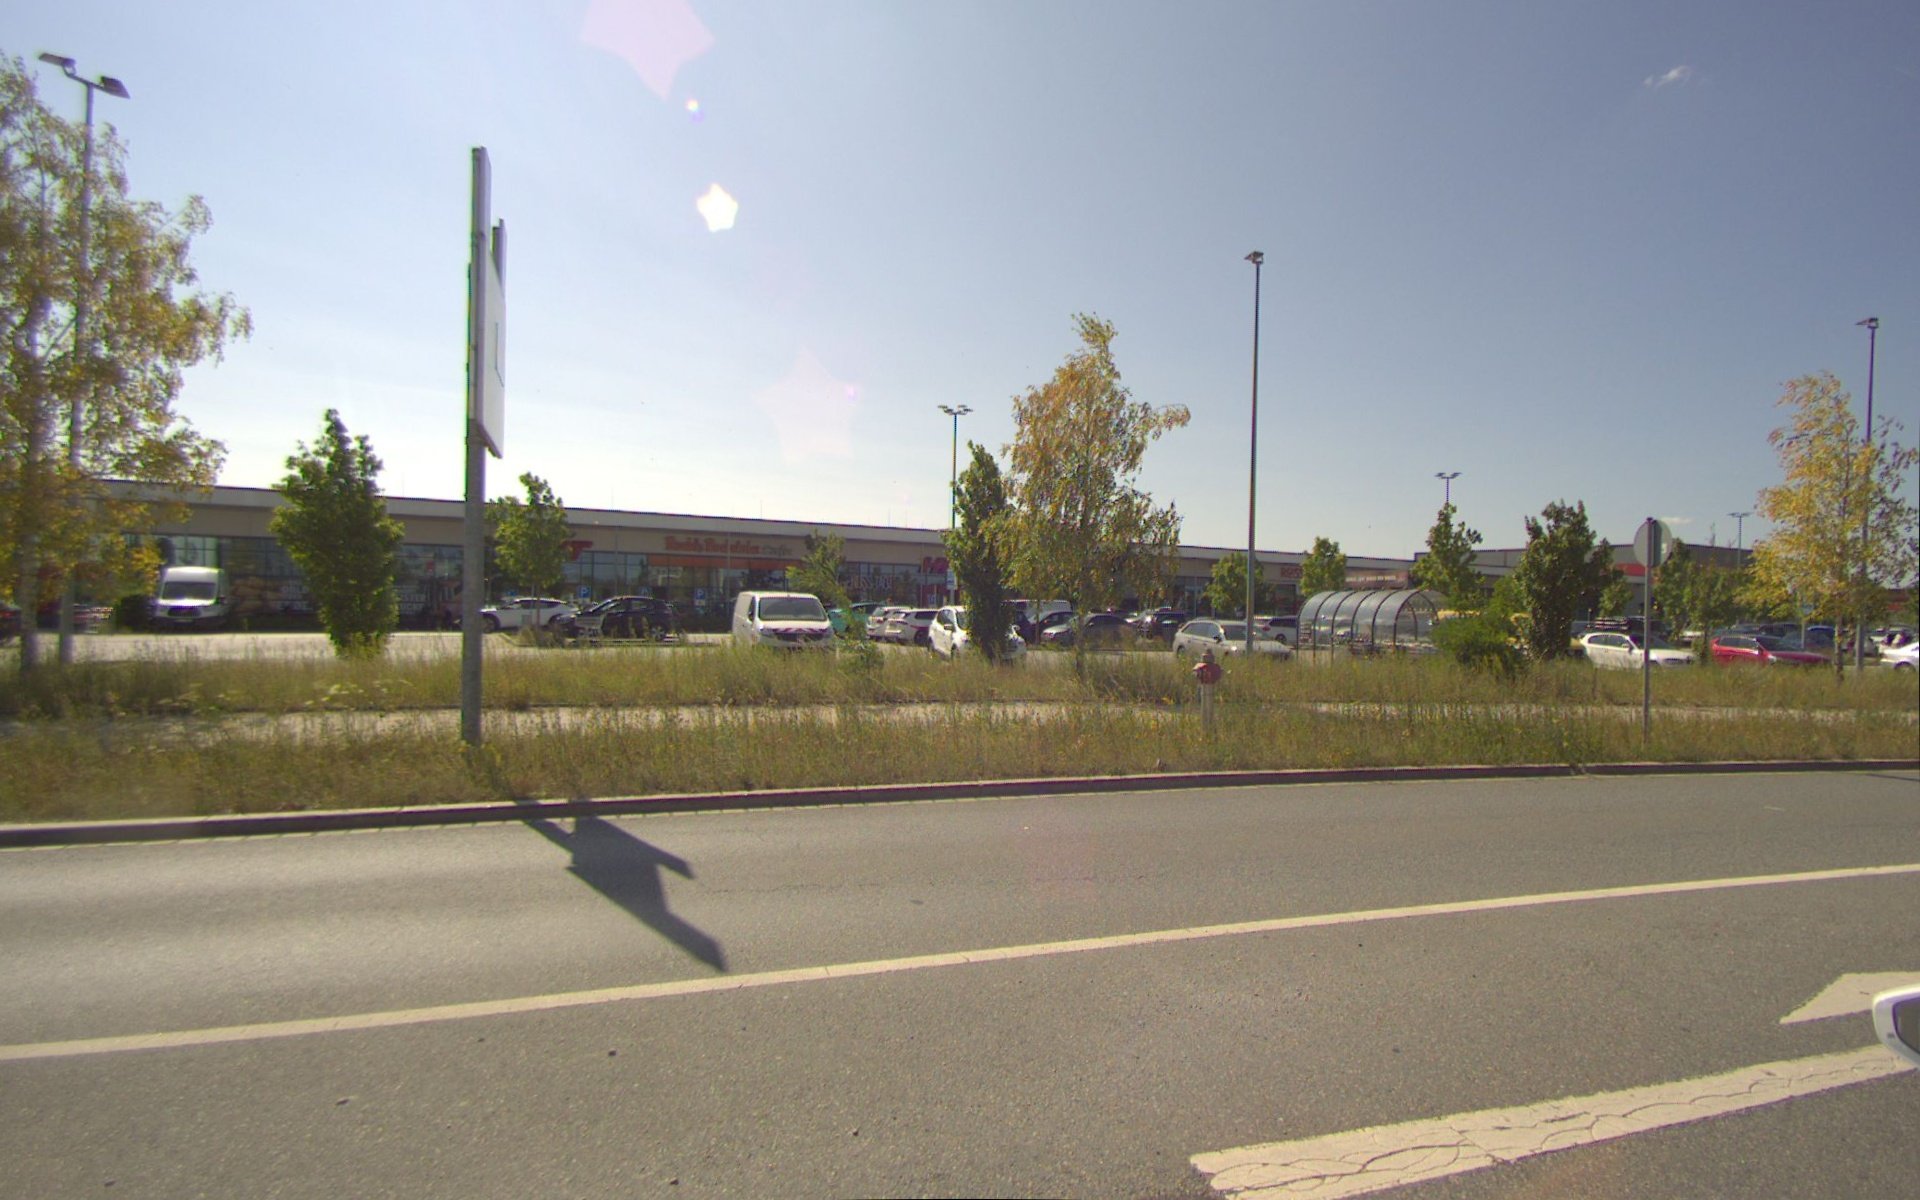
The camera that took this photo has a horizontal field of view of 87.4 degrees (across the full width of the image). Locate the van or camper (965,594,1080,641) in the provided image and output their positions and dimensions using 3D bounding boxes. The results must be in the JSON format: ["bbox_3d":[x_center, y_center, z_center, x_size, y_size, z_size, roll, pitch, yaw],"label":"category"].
[{"bbox_3d":[2.886,0.818,46.207,4.985,2.040,1.987,1,0,-26],"label":"van or camper"}]

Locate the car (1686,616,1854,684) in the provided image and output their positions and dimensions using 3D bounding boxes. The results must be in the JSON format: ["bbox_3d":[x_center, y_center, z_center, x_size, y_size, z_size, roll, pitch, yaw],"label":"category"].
[{"bbox_3d":[26.682,1.593,33.272,1.849,2.040,4.132,2,0,-9],"label":"car"}]

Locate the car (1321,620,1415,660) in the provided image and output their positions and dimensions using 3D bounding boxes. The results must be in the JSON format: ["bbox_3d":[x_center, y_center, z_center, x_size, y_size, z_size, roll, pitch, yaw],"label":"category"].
[{"bbox_3d":[20.377,1.986,50.184,4.428,1.888,1.986,2,-1,-28],"label":"car"}]

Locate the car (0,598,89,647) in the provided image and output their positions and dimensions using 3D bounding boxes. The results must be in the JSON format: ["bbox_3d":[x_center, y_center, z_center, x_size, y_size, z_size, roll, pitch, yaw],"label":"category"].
[{"bbox_3d":[-29.347,0.673,30.728,3.802,1.442,1.757,2,-1,-32],"label":"car"}]

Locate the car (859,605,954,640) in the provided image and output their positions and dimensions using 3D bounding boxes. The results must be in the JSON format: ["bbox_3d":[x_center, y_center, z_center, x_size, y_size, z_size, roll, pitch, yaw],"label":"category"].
[{"bbox_3d":[-2.275,0.954,42.971,3.689,1.409,1.717,1,0,-31],"label":"car"}]

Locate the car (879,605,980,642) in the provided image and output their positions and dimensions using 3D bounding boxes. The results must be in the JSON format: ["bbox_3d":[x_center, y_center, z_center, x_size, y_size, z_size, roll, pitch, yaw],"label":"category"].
[{"bbox_3d":[-1.215,0.943,40.130,3.689,1.409,1.717,1,0,-31],"label":"car"}]

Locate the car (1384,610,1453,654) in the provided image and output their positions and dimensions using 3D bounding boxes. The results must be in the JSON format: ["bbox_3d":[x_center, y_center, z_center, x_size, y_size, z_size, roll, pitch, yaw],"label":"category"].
[{"bbox_3d":[31.448,2.193,68.849,4.428,2.859,1.986,2,-1,-28],"label":"car"}]

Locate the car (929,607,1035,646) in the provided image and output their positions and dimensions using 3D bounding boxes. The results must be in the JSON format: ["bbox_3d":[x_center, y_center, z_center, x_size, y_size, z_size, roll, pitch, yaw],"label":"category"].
[{"bbox_3d":[0.860,0.997,38.269,3.689,1.409,1.717,1,0,-31],"label":"car"}]

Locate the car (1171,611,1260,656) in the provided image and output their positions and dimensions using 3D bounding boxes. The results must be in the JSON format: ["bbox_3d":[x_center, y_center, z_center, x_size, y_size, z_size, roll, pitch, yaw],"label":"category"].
[{"bbox_3d":[13.163,1.721,51.679,4.438,2.220,1.981,2,-1,-34],"label":"car"}]

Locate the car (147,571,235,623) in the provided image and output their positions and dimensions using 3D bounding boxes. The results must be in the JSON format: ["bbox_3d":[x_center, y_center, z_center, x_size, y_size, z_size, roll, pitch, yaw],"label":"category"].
[{"bbox_3d":[-32.219,-0.120,42.299,2.204,2.003,6.639,1,0,-31],"label":"car"}]

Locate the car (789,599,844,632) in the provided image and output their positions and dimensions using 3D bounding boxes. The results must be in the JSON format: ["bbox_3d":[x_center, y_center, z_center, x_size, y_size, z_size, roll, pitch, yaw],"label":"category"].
[{"bbox_3d":[-7.927,0.837,55.180,1.972,1.730,3.976,1,0,-24],"label":"car"}]

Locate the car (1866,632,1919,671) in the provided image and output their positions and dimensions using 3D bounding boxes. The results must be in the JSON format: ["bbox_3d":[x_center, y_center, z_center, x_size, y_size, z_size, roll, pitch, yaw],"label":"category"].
[{"bbox_3d":[53.225,2.882,56.512,4.428,2.065,1.986,2,-1,-28],"label":"car"}]

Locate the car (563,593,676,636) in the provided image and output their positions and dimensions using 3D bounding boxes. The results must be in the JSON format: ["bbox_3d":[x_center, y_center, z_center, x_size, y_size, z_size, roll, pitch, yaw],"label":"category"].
[{"bbox_3d":[-12.637,0.545,37.254,3.758,1.529,1.719,1,0,-28],"label":"car"}]

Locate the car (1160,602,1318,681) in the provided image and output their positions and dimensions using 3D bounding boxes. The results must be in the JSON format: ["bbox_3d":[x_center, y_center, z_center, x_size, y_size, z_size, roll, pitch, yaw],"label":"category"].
[{"bbox_3d":[7.814,1.098,28.720,2.128,2.040,5.102,1,0,-14],"label":"car"}]

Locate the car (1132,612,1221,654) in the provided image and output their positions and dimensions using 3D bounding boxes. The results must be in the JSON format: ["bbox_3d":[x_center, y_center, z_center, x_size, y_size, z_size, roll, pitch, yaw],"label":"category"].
[{"bbox_3d":[11.723,1.784,54.410,4.422,2.130,1.989,2,-1,-24],"label":"car"}]

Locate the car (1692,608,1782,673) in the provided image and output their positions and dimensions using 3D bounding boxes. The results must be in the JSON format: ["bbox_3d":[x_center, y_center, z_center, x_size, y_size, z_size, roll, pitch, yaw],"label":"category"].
[{"bbox_3d":[35.937,1.858,46.425,4.438,2.859,1.981,2,-1,-34],"label":"car"}]

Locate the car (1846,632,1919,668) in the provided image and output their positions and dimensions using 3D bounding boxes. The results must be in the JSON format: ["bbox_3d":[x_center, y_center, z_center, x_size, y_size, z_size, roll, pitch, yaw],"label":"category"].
[{"bbox_3d":[56.603,3.066,61.564,4.428,2.065,1.986,2,-1,-28],"label":"car"}]

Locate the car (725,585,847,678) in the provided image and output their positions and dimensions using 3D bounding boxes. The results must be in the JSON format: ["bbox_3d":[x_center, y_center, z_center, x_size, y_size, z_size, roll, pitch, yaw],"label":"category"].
[{"bbox_3d":[-4.412,0.714,24.711,2.056,2.040,5.205,1,0,-20],"label":"car"}]

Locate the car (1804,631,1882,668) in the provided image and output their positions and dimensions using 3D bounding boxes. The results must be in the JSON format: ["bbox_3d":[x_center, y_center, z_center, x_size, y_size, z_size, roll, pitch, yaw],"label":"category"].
[{"bbox_3d":[51.778,2.894,58.880,4.428,2.065,1.986,2,-1,-28],"label":"car"}]

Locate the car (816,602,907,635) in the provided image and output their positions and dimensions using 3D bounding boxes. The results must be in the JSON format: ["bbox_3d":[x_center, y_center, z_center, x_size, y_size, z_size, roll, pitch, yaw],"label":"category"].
[{"bbox_3d":[-4.408,0.820,45.106,3.689,1.409,1.717,1,0,-31],"label":"car"}]

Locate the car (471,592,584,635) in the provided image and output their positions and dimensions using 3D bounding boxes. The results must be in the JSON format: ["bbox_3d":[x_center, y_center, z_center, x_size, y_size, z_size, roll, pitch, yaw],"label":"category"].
[{"bbox_3d":[-18.827,0.604,43.833,4.425,1.728,1.863,2,-1,-25],"label":"car"}]

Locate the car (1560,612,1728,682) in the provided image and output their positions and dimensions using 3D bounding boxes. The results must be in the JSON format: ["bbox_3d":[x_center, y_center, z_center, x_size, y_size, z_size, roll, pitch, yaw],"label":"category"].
[{"bbox_3d":[21.936,1.454,32.441,1.910,2.040,4.401,2,0,-11],"label":"car"}]

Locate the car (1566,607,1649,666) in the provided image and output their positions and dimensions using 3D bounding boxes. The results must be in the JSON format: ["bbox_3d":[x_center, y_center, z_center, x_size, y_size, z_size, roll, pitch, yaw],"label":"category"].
[{"bbox_3d":[32.858,1.872,50.946,4.438,2.859,1.981,2,-1,-34],"label":"car"}]

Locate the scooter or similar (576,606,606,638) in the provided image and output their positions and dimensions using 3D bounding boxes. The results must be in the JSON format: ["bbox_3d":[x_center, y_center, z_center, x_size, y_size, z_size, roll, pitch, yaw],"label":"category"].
[{"bbox_3d":[-12.946,0.758,35.222,0.933,1.094,0.648,1,0,-24],"label":"scooter or similar"}]

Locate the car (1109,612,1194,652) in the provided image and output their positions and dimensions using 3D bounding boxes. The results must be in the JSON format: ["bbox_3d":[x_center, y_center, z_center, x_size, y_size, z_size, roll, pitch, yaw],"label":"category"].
[{"bbox_3d":[10.866,1.805,57.007,4.422,2.151,1.989,2,-1,-24],"label":"car"}]

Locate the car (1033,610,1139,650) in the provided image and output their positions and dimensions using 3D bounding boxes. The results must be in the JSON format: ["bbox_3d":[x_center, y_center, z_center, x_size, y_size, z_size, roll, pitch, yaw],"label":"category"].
[{"bbox_3d":[5.190,1.243,41.335,3.948,1.528,1.862,2,-1,-27],"label":"car"}]

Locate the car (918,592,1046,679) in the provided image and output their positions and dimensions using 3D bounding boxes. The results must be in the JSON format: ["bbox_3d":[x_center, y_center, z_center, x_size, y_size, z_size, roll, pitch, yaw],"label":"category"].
[{"bbox_3d":[0.439,0.872,26.460,2.128,2.040,5.102,1,0,-14],"label":"car"}]

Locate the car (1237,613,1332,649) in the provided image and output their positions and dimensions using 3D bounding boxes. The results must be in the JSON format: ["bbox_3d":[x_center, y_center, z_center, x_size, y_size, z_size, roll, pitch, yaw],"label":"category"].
[{"bbox_3d":[15.253,1.460,47.162,4.293,1.540,1.645,2,-1,-26],"label":"car"}]

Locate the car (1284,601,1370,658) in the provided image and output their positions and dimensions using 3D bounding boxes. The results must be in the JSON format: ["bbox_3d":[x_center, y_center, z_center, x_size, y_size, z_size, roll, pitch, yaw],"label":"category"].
[{"bbox_3d":[19.305,1.575,52.786,4.438,2.859,1.981,2,-1,-34],"label":"car"}]

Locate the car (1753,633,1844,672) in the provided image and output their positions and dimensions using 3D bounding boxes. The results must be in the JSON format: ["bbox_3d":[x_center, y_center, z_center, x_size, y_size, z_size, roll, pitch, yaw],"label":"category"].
[{"bbox_3d":[41.303,2.577,49.461,4.261,1.808,1.986,2,-1,-28],"label":"car"}]

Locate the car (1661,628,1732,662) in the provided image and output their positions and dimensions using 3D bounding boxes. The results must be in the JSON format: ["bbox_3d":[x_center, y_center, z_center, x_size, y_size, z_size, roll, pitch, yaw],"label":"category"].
[{"bbox_3d":[47.960,2.929,65.382,4.428,2.065,1.986,2,-1,-28],"label":"car"}]

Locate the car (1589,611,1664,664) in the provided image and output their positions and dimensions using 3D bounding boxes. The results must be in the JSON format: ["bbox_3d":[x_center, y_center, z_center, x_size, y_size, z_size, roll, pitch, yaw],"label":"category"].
[{"bbox_3d":[37.320,2.087,56.215,4.438,2.859,1.981,2,-1,-34],"label":"car"}]

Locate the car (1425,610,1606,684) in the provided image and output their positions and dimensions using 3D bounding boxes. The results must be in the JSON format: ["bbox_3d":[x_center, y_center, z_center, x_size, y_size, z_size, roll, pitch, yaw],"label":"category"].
[{"bbox_3d":[17.089,1.378,31.271,2.126,2.040,5.105,1,0,-11],"label":"car"}]
